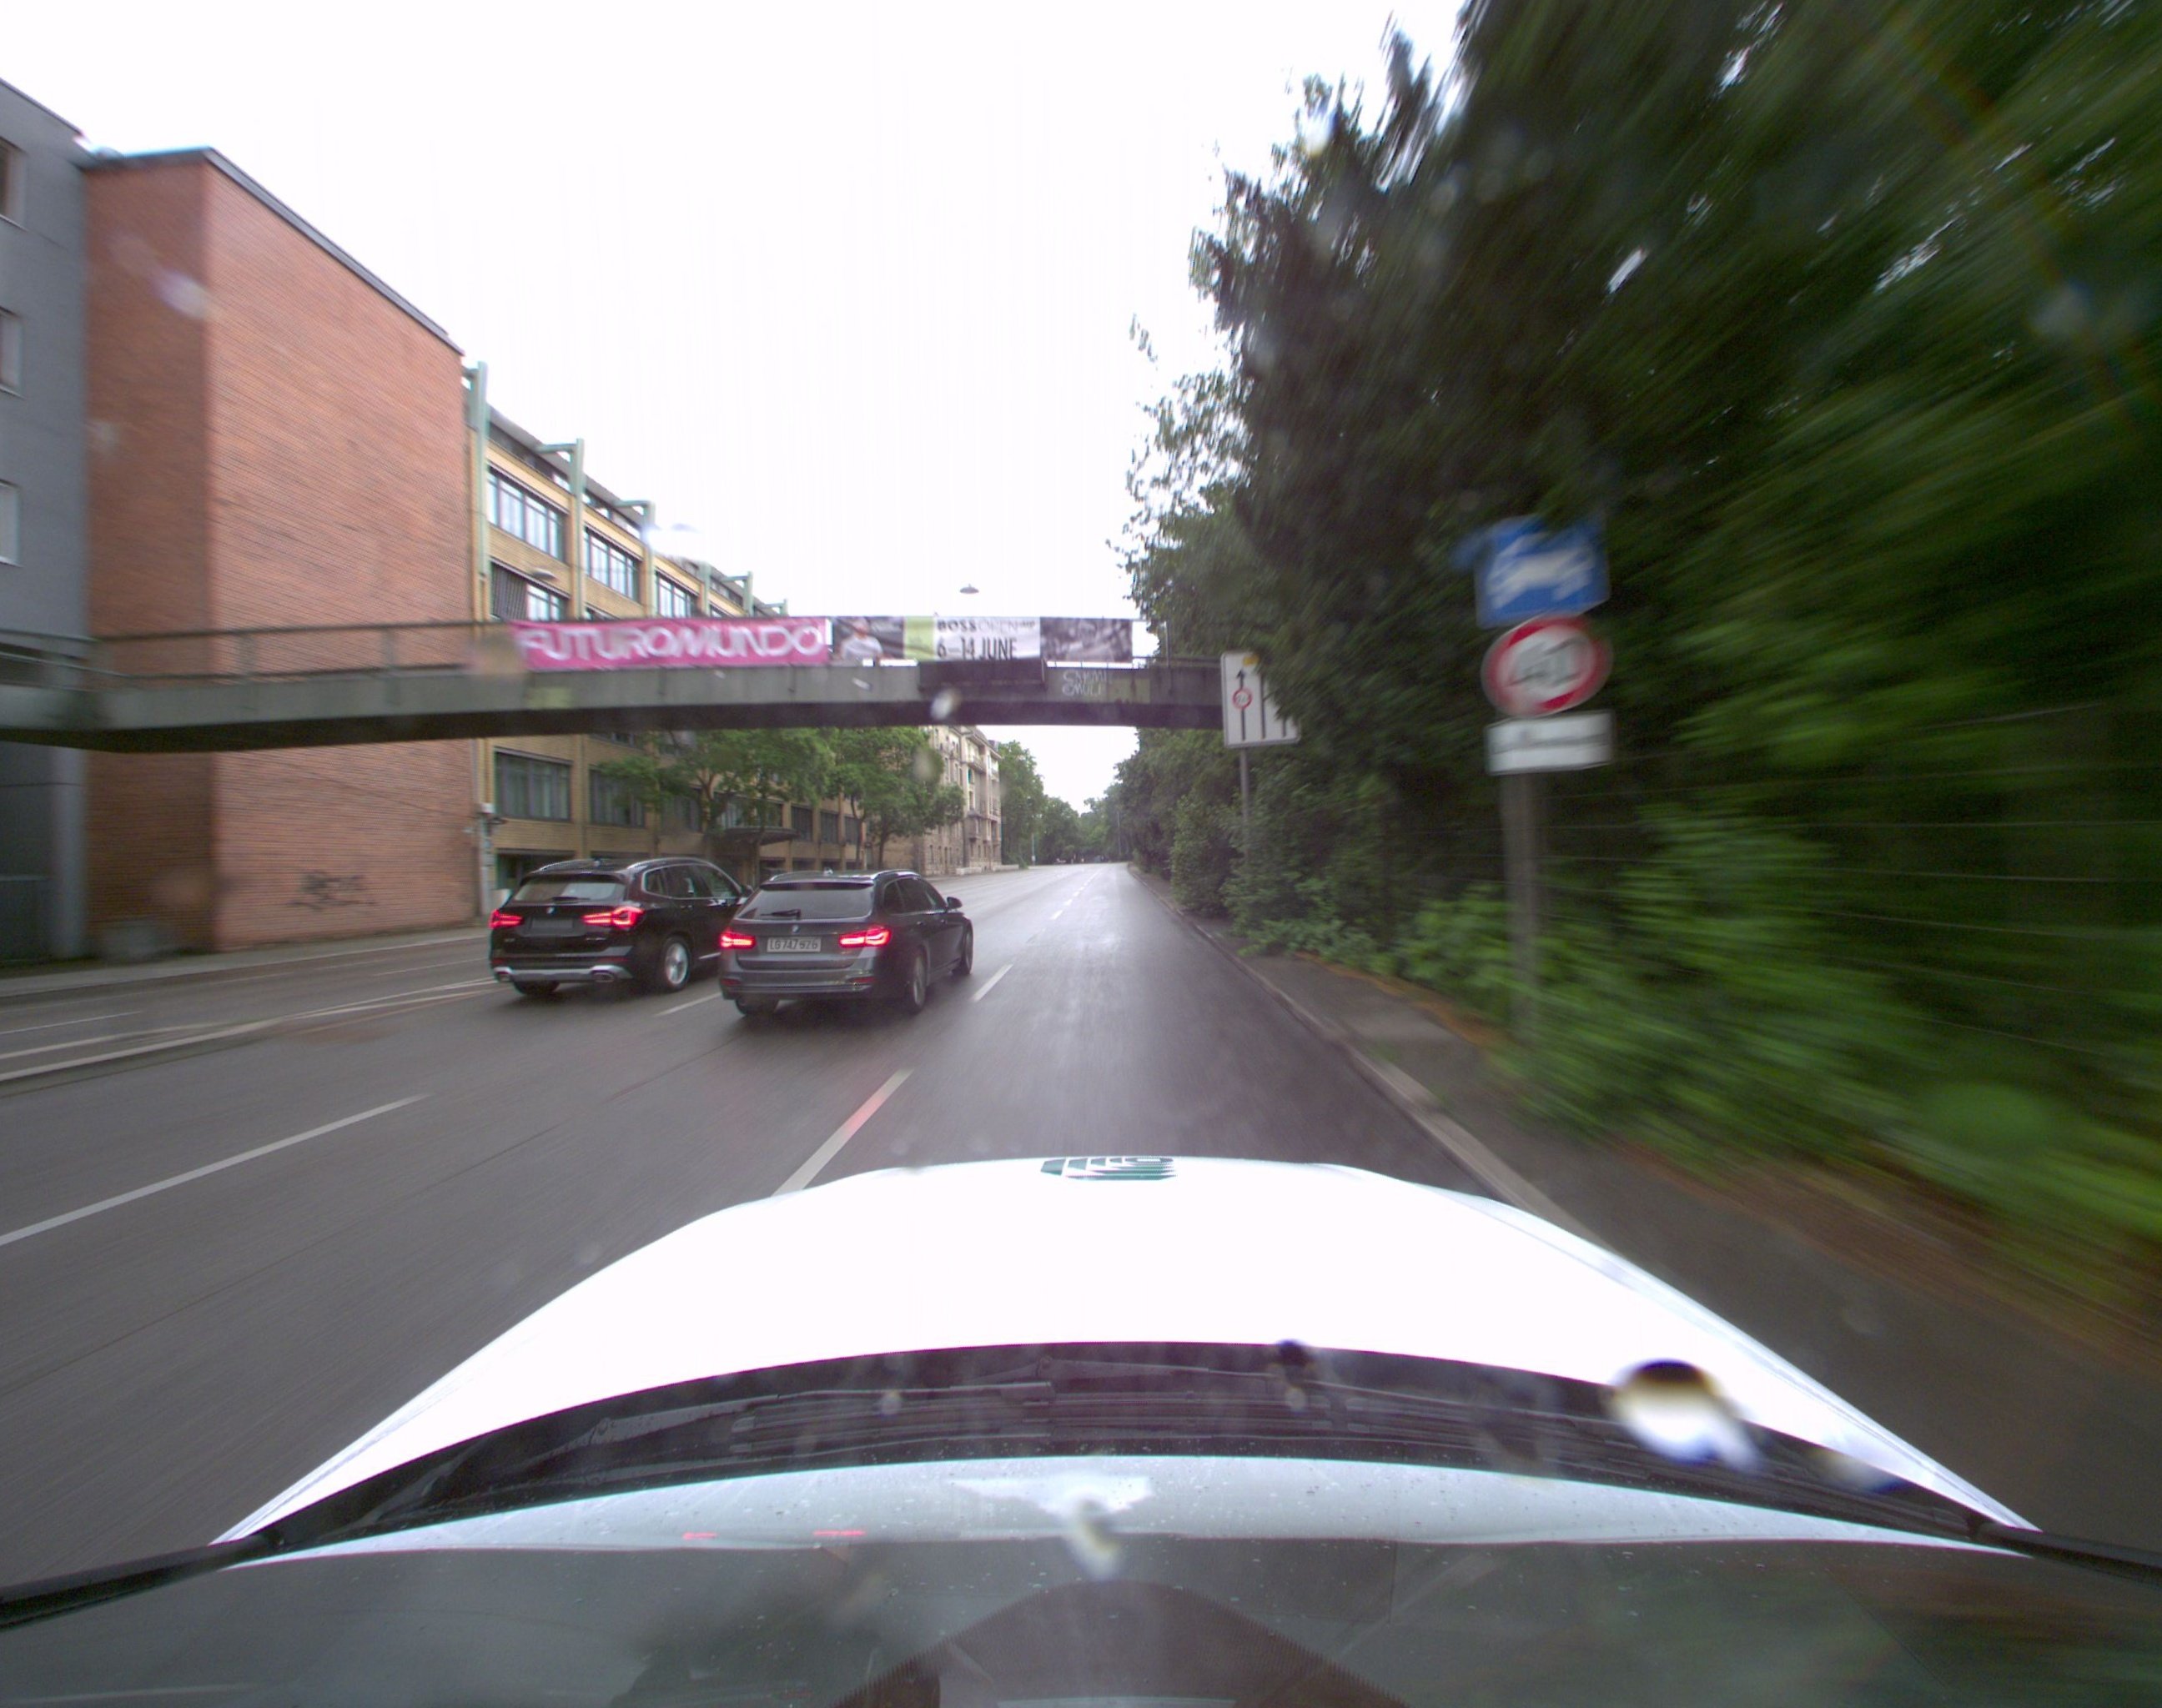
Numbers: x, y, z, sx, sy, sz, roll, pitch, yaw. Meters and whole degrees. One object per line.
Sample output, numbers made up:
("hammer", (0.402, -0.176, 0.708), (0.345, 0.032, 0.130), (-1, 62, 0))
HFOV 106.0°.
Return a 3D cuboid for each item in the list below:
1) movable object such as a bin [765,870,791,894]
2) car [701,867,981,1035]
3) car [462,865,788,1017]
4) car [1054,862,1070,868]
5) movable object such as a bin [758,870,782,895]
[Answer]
("movable object such as a bin", (-18.687, 1.719, 50.252), (1.065, 1.436, 1.371), (-1, 0, -2))
("car", (-2.378, 0.888, 9.355), (1.751, 1.432, 4.414), (-1, -1, 2))
("car", (-5.739, 0.968, 11.025), (1.751, 1.586, 4.414), (-2, -1, 2))
("car", (-5.068, 2.970, 215.969), (1.702, 1.427, 4.317), (3, -4, -44))
("movable object such as a bin", (-18.662, 1.703, 48.898), (0.970, 1.436, 1.313), (-1, 0, -2))
